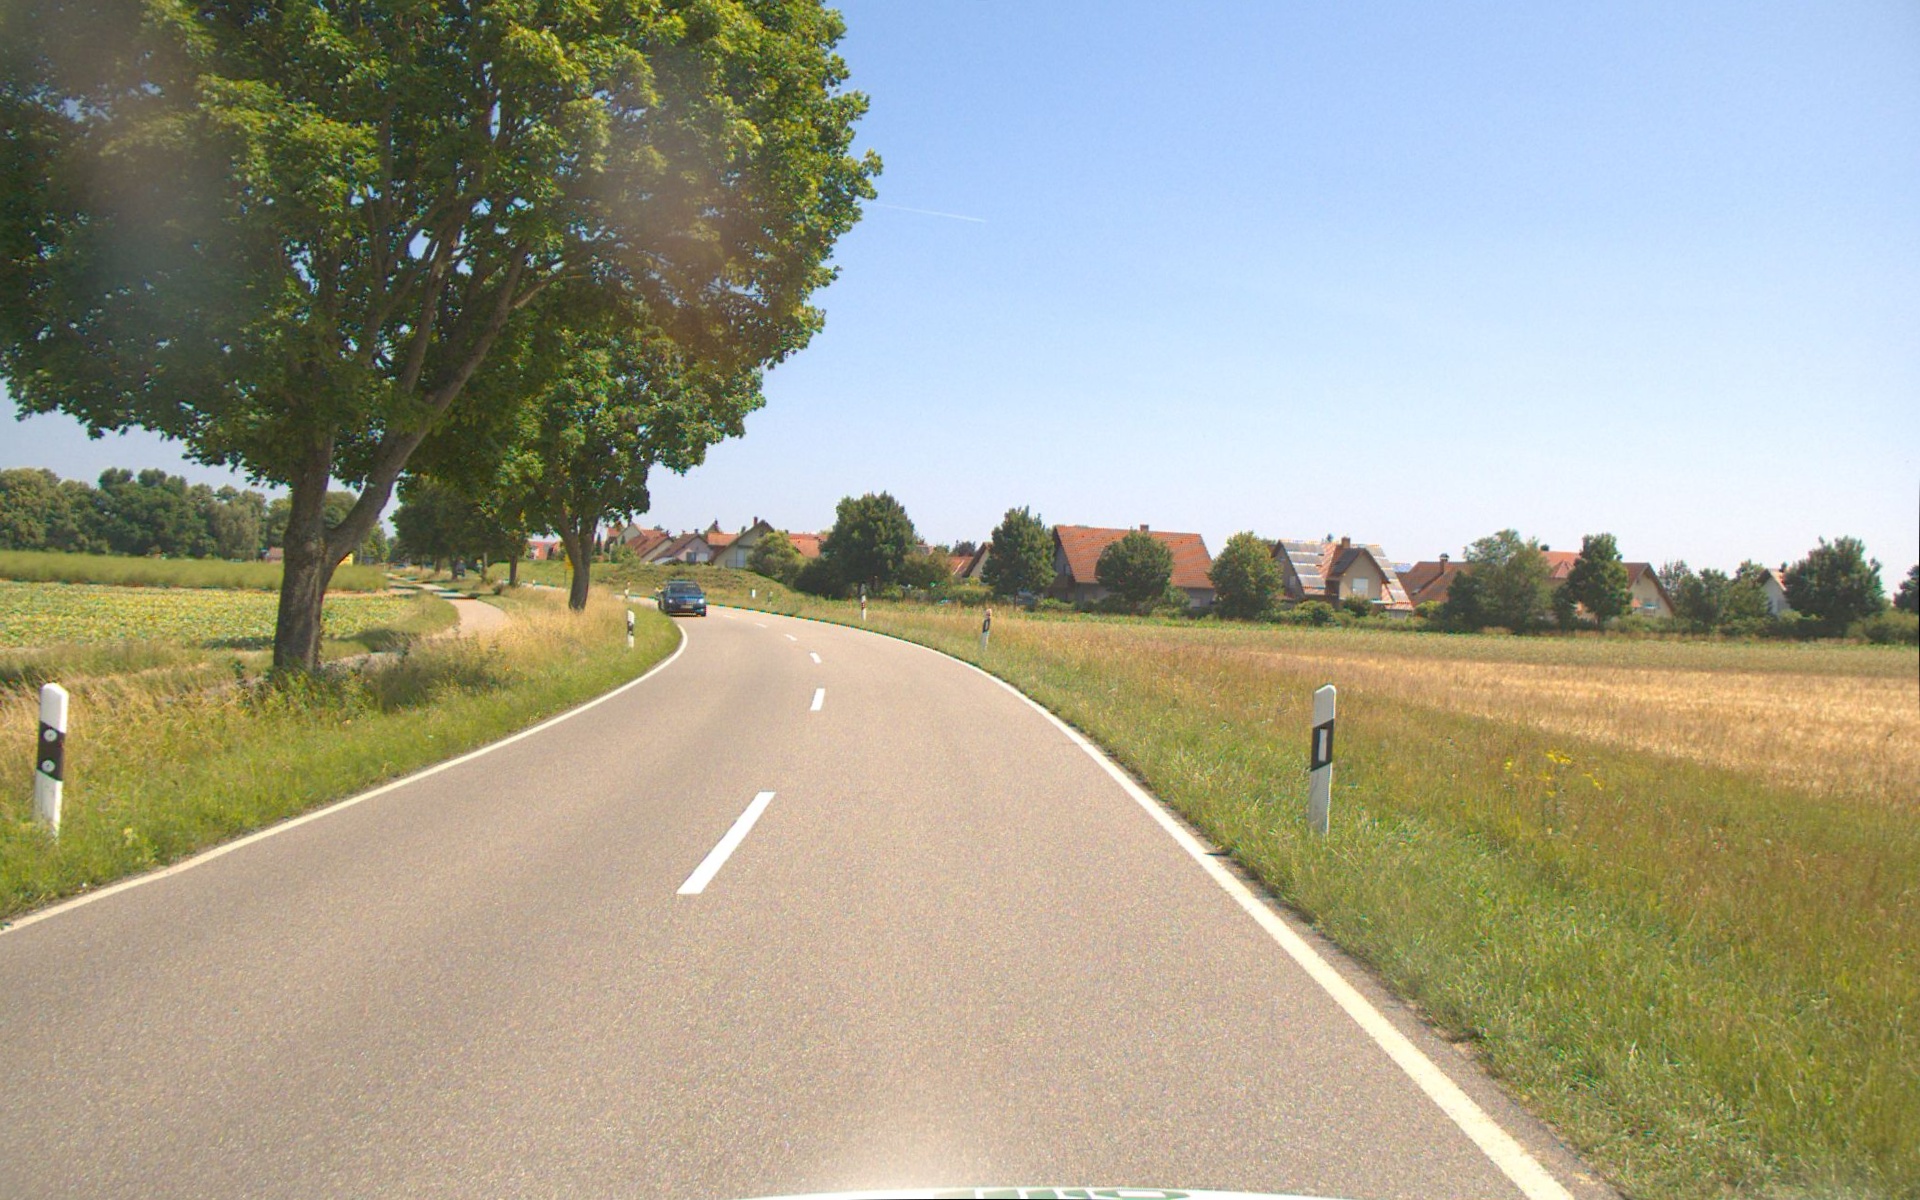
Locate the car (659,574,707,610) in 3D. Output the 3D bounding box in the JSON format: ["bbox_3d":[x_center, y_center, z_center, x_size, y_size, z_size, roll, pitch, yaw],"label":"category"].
[{"bbox_3d":[-11.749,-0.362,69.985,1.616,1.454,4.163,-1,1,-15],"label":"car"}]
